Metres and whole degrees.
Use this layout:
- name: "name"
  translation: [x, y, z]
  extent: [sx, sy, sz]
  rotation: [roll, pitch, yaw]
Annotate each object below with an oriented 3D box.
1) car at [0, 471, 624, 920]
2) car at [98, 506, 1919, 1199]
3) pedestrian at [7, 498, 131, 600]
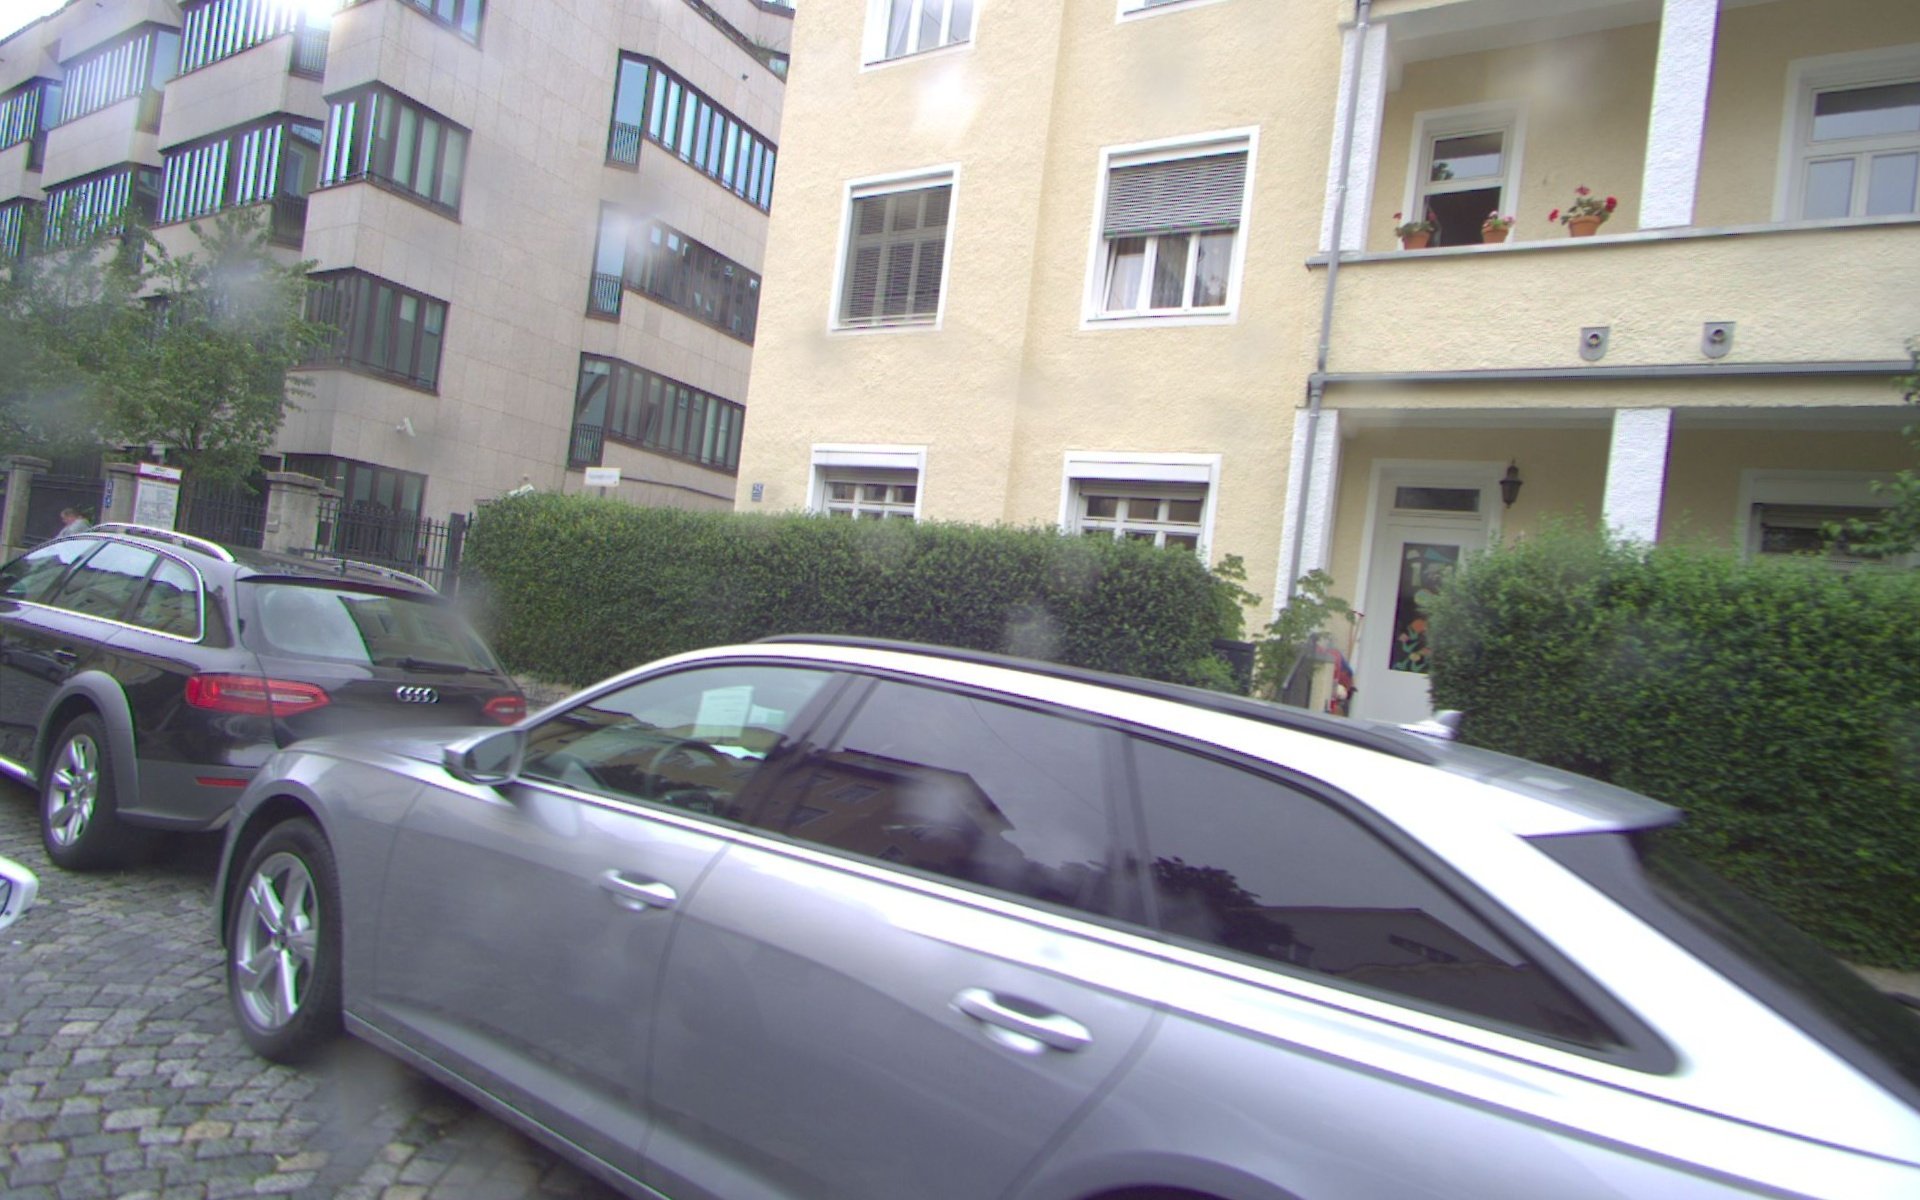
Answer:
- name: "car"
  translation: [-4.496, 0.264, 5.776]
  extent: [4.931, 1.568, 2.000]
  rotation: [7, -4, 31]
- name: "car"
  translation: [-0.237, 0.812, 2.962]
  extent: [4.904, 1.569, 1.998]
  rotation: [7, -3, 32]
- name: "pedestrian"
  translation: [-14.759, -0.837, 16.678]
  extent: [1.111, 1.512, 1.217]
  rotation: [7, 1, 33]
